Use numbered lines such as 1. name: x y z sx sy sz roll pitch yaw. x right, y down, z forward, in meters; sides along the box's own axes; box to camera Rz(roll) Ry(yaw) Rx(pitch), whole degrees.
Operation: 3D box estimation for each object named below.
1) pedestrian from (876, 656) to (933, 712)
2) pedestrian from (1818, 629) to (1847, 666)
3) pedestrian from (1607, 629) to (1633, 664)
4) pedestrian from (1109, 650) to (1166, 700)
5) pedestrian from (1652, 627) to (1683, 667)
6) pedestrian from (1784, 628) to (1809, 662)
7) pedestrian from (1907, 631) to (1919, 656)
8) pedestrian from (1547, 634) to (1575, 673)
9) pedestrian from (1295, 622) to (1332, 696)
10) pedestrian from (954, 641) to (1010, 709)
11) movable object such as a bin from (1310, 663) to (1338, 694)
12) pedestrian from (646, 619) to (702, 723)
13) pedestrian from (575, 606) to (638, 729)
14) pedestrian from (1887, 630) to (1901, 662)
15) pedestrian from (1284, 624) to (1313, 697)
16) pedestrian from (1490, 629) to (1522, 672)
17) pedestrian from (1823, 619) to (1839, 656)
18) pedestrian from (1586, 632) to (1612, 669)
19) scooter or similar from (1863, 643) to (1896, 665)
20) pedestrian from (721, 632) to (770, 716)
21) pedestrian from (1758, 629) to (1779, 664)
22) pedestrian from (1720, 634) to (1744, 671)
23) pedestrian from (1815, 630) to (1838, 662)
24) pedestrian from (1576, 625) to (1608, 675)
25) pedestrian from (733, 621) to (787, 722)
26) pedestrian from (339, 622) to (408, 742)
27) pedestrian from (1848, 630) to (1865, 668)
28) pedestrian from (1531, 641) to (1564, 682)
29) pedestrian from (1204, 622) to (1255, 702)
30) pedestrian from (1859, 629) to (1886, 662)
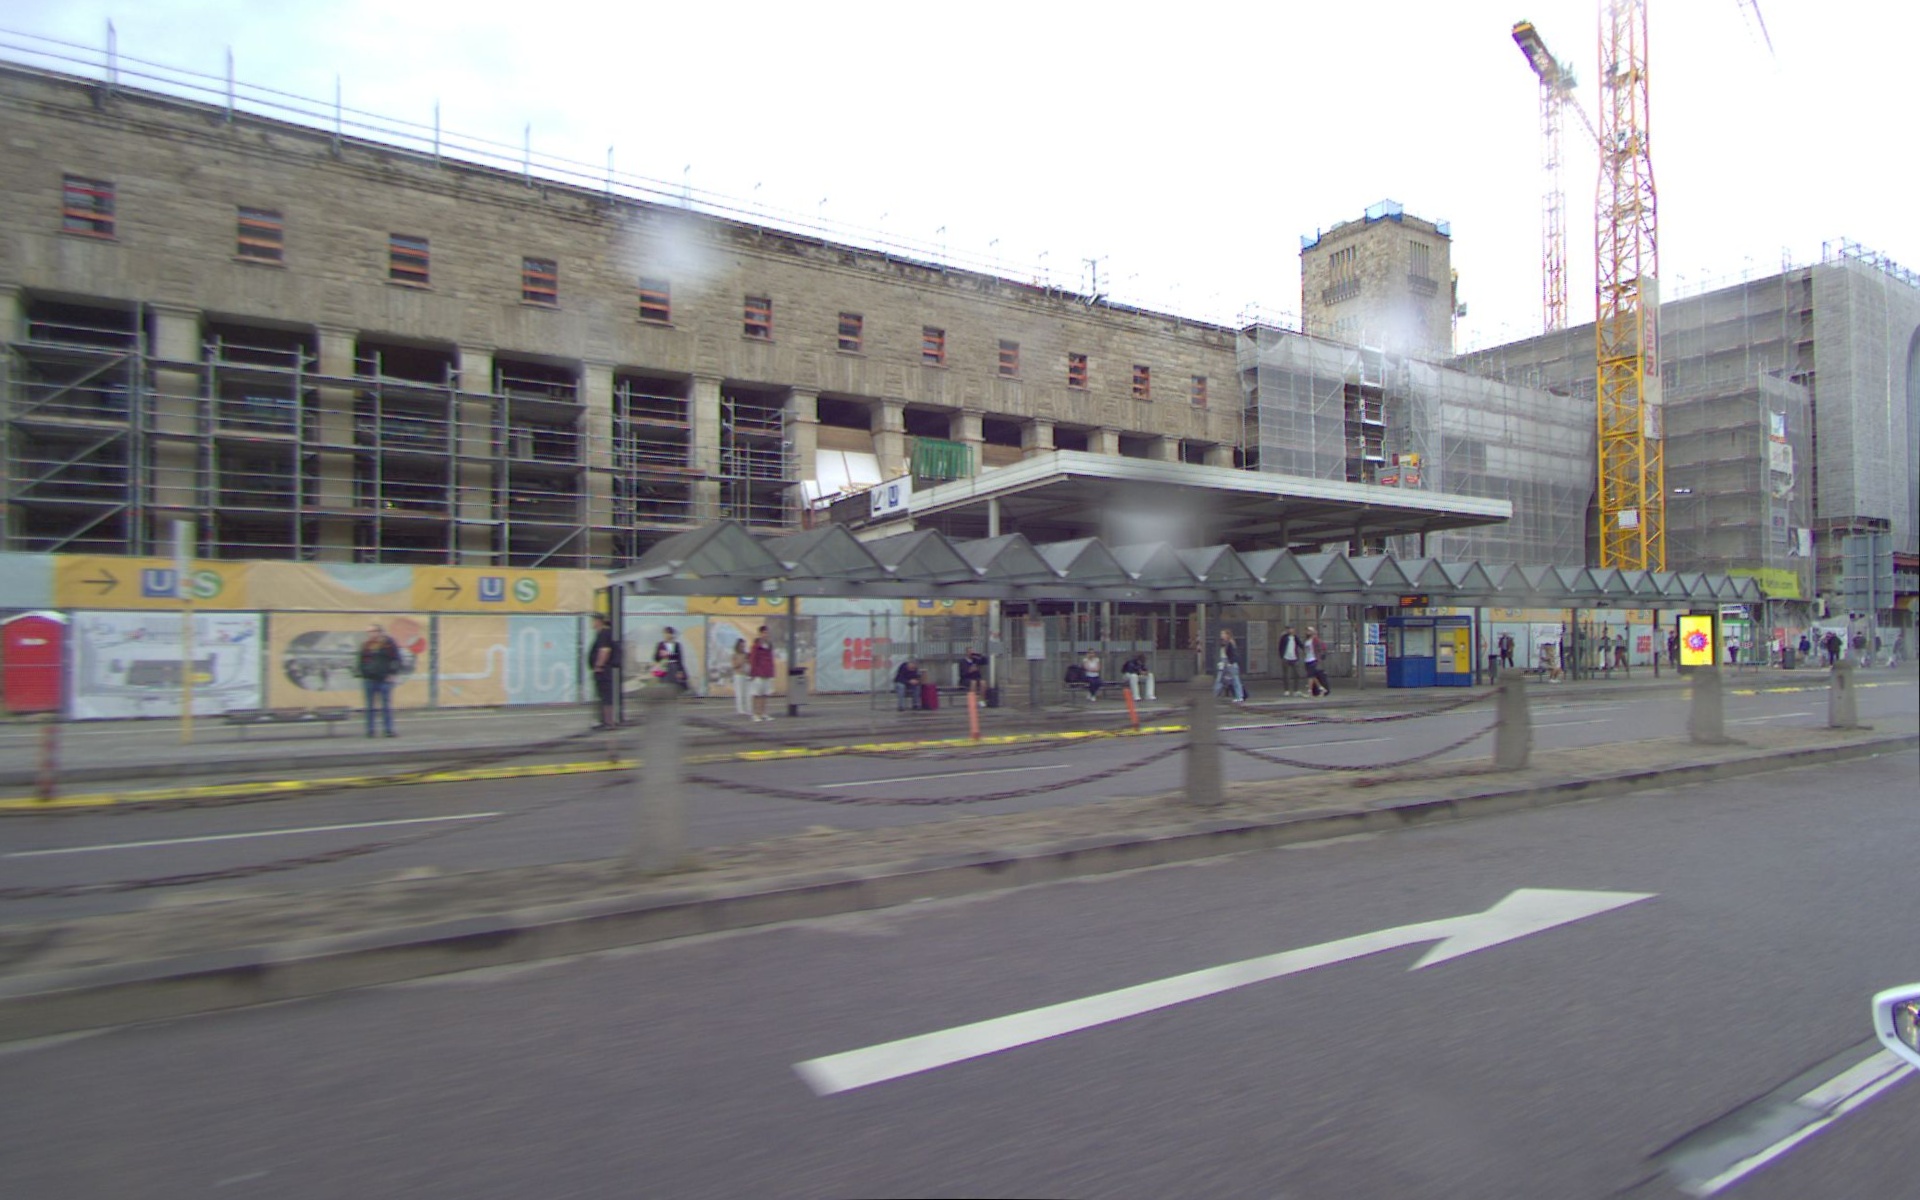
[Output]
1. pedestrian: -1.174 1.765 21.233 0.916 1.107 0.839 1 -1 -32
2. pedestrian: 43.718 2.365 50.328 0.861 1.865 0.704 0 -1 -3
3. pedestrian: 29.924 2.097 45.562 0.695 1.568 0.797 1 -1 -36
4. pedestrian: 4.416 1.838 24.973 1.043 1.173 0.945 1 -1 -31
5. pedestrian: 33.875 2.248 48.101 1.033 1.865 0.853 1 0 -31
6. pedestrian: 46.844 2.519 56.257 0.857 1.865 0.799 1 -1 -28
7. pedestrian: 62.430 2.816 65.593 0.828 1.635 0.673 1 -1 -29
8. pedestrian: 25.570 2.269 42.727 0.694 1.629 0.798 1 -1 -33
9. pedestrian: 8.849 1.453 25.149 0.769 1.814 0.671 0 -1 31
10. pedestrian: 0.482 1.641 22.353 0.822 1.451 1.049 1 -1 -32
11. movable object such as a bin: 9.409 2.022 25.965 0.621 0.800 0.512 -1 -3 14
12. pedestrian: -5.114 1.250 17.954 0.799 1.814 0.551 1 -1 -40
13. pedestrian: -5.932 1.109 16.833 0.814 1.984 0.754 1 -2 -34
14. pedestrian: 55.696 2.727 59.902 0.564 1.865 0.700 -1 -1 45
15. pedestrian: 8.761 1.561 26.034 0.664 1.872 0.558 0 -1 14
16. pedestrian: 22.509 2.067 41.388 0.828 1.722 0.873 1 -1 -33
17. pedestrian: 44.157 1.881 50.911 0.499 1.865 0.339 0 -1 -5
18. pedestrian: 29.404 2.318 46.230 0.695 1.692 0.797 1 -1 -36
19. scooter or similar: 45.848 2.697 50.092 1.215 1.080 0.460 0 -1 3
20. pedestrian: -4.317 1.464 20.185 0.799 1.652 0.551 1 -1 -40
21. pedestrian: 43.210 2.473 53.685 0.604 1.865 0.718 1 -1 -28
22. pedestrian: 39.475 2.690 51.366 0.648 1.865 0.739 1 -1 -28
23. pedestrian: 52.183 2.754 60.511 0.840 1.865 0.799 1 -1 -28
24. pedestrian: 23.857 1.893 37.939 0.689 1.865 0.745 0 -1 -11
25. pedestrian: -3.702 1.293 18.573 0.741 1.814 0.718 1 -1 -37
26. pedestrian: -9.086 1.248 15.590 0.782 1.814 0.698 1 -1 -19
27. pedestrian: 44.669 2.442 50.050 0.698 1.865 0.503 1 -1 -38
28. pedestrian: 19.998 2.079 34.175 0.796 1.343 0.695 1 -1 -33
29. pedestrian: 6.249 1.422 23.305 0.848 1.814 0.773 1 -1 -24
30. pedestrian: 52.988 2.645 58.332 1.045 1.865 0.836 1 -1 -28
